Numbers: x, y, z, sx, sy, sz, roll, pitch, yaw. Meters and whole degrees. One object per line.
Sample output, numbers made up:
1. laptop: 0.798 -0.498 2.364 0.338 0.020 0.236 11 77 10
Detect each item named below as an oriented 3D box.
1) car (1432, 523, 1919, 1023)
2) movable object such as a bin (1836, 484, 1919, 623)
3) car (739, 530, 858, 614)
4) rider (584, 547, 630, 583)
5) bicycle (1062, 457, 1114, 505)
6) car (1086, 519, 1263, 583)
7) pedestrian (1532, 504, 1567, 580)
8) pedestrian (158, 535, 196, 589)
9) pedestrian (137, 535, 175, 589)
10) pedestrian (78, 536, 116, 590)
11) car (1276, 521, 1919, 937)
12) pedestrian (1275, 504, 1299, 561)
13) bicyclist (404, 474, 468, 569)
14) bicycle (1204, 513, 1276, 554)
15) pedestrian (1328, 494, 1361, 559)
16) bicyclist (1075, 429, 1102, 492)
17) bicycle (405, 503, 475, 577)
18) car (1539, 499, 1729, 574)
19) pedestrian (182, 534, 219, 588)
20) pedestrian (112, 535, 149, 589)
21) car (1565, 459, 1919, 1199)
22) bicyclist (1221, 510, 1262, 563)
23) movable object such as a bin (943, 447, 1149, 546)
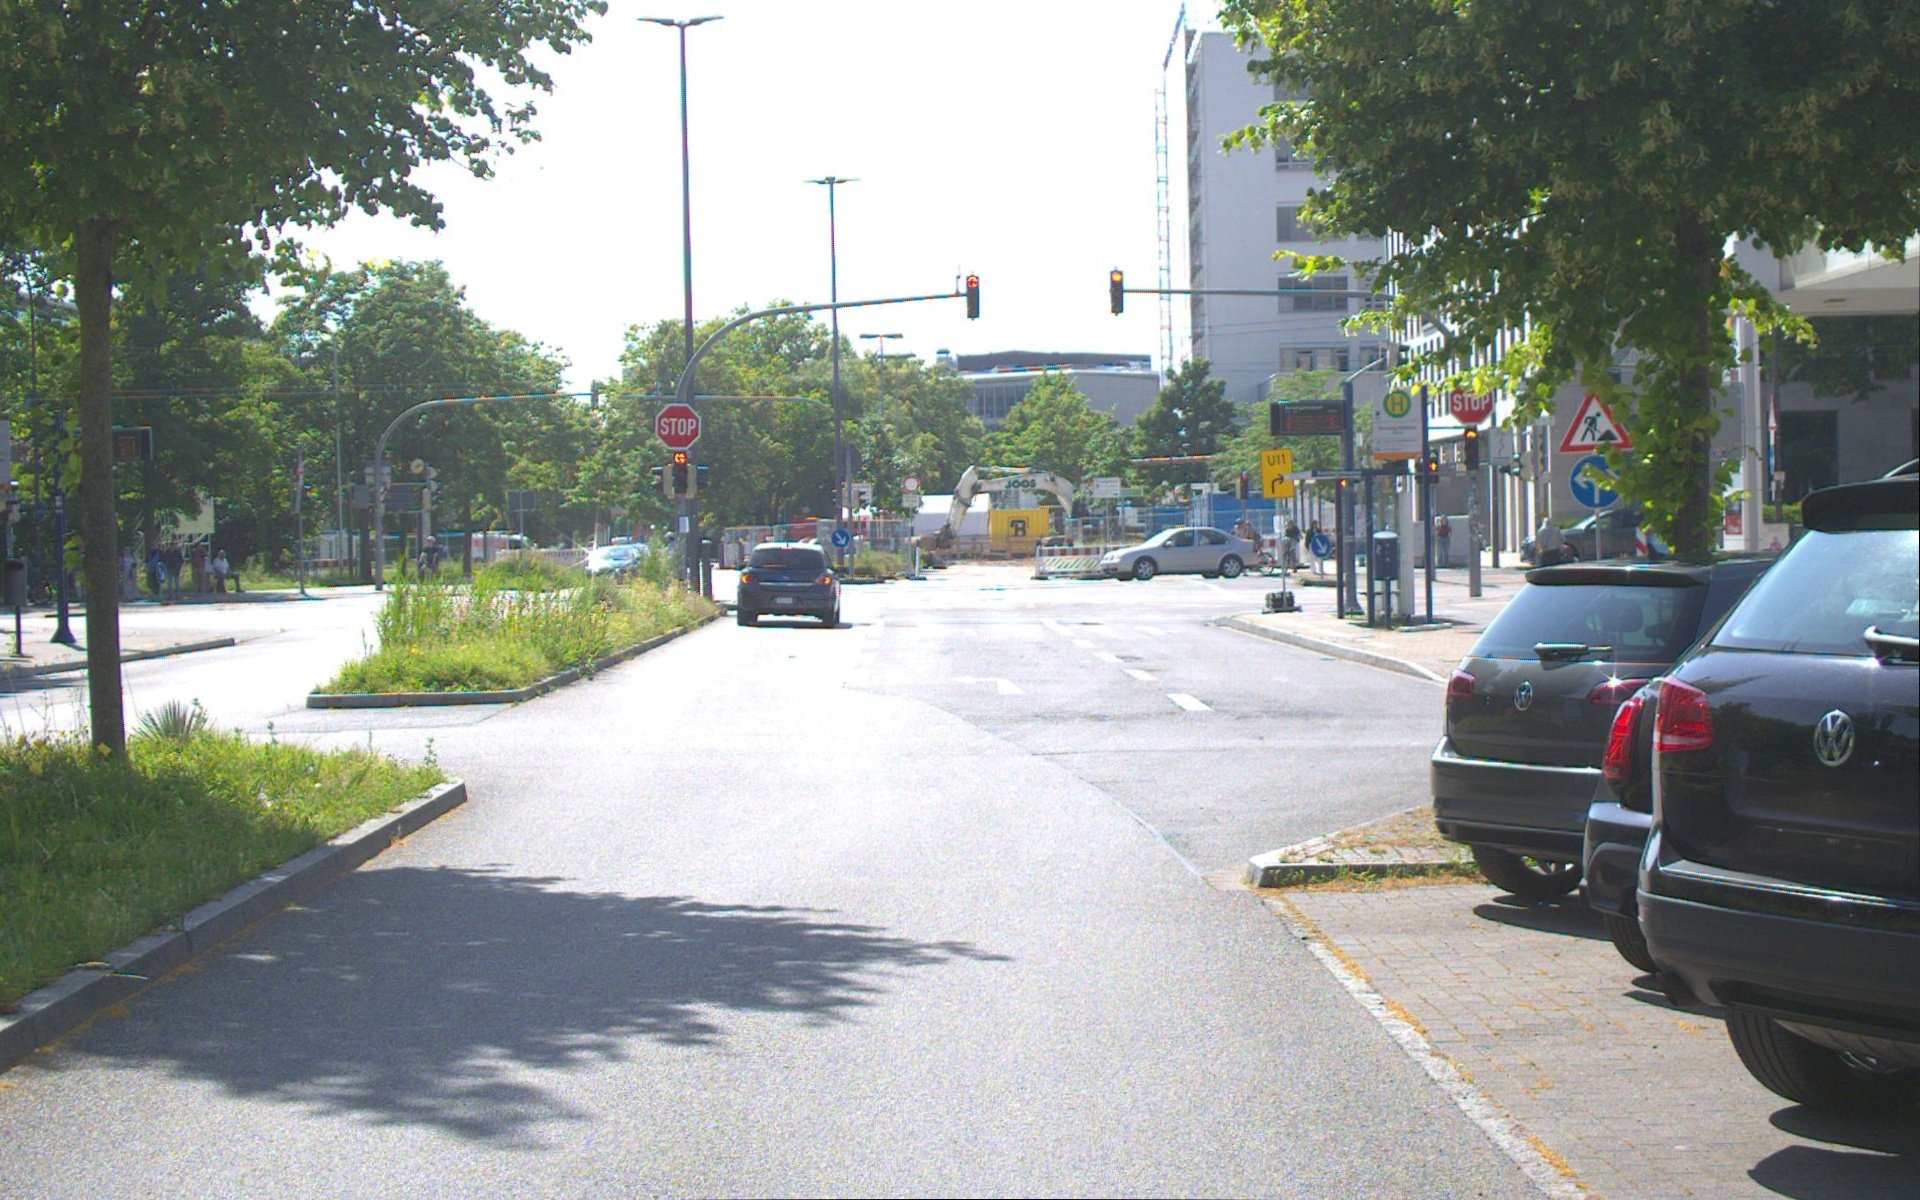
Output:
1. car: 3.777 0.465 11.964 3.987 1.468 1.769 -1 1 -31
2. movable object such as a bin: 11.299 -0.572 40.792 1.307 1.586 1.396 -4 1 -3
3. car: -2.882 -0.519 60.682 1.993 1.393 4.001 -1 1 -4
4. rider: -11.863 -1.181 115.709 1.391 1.191 2.698 -1 1 -3
5. bicycle: 5.290 -4.925 142.222 2.088 1.955 0.827 0 1 6
6. car: 5.873 -1.351 94.337 4.380 1.633 2.001 -2 1 -17
7. pedestrian: 11.982 -1.177 69.908 0.618 1.538 0.461 -1 1 -1
8. pedestrian: -23.338 -1.143 102.492 0.655 1.606 0.941 0 1 23
9. pedestrian: -24.152 -1.143 103.271 0.655 1.606 0.941 0 1 23
10. pedestrian: -25.837 -1.108 102.890 0.655 1.606 0.941 0 1 23
11. car: 3.626 0.434 14.622 4.103 1.525 2.000 -1 1 -28
12. pedestrian: 10.323 -2.132 108.417 0.528 1.765 0.720 -1 1 -14
13. bicyclist: -16.409 -2.446 107.751 1.599 2.921 2.353 -1 1 -1
14. bicycle: 8.782 -2.081 107.844 2.229 1.280 0.525 0 1 8
15. pedestrian: 11.952 -2.301 106.868 0.779 2.007 0.776 0 1 28
16. bicyclist: 5.323 -5.761 142.208 1.070 2.565 0.827 0 1 6
17. bicycle: -16.399 -1.899 108.582 1.599 2.261 4.000 -1 1 -1
18. car: 18.753 -1.767 95.787 4.853 2.007 2.000 -1 1 -3
19. pedestrian: -22.945 -1.172 103.866 0.667 1.606 0.941 0 1 23
20. pedestrian: -24.919 -1.132 103.291 0.655 1.606 0.941 0 1 23
21. car: 3.962 0.463 8.815 4.730 1.654 1.753 -2 1 -31
22. bicyclist: 8.840 -1.994 107.839 1.240 1.667 0.525 0 1 8
23. movable object such as a bin: 4.101 -4.921 163.634 9.675 4.534 3.164 -1 1 1
